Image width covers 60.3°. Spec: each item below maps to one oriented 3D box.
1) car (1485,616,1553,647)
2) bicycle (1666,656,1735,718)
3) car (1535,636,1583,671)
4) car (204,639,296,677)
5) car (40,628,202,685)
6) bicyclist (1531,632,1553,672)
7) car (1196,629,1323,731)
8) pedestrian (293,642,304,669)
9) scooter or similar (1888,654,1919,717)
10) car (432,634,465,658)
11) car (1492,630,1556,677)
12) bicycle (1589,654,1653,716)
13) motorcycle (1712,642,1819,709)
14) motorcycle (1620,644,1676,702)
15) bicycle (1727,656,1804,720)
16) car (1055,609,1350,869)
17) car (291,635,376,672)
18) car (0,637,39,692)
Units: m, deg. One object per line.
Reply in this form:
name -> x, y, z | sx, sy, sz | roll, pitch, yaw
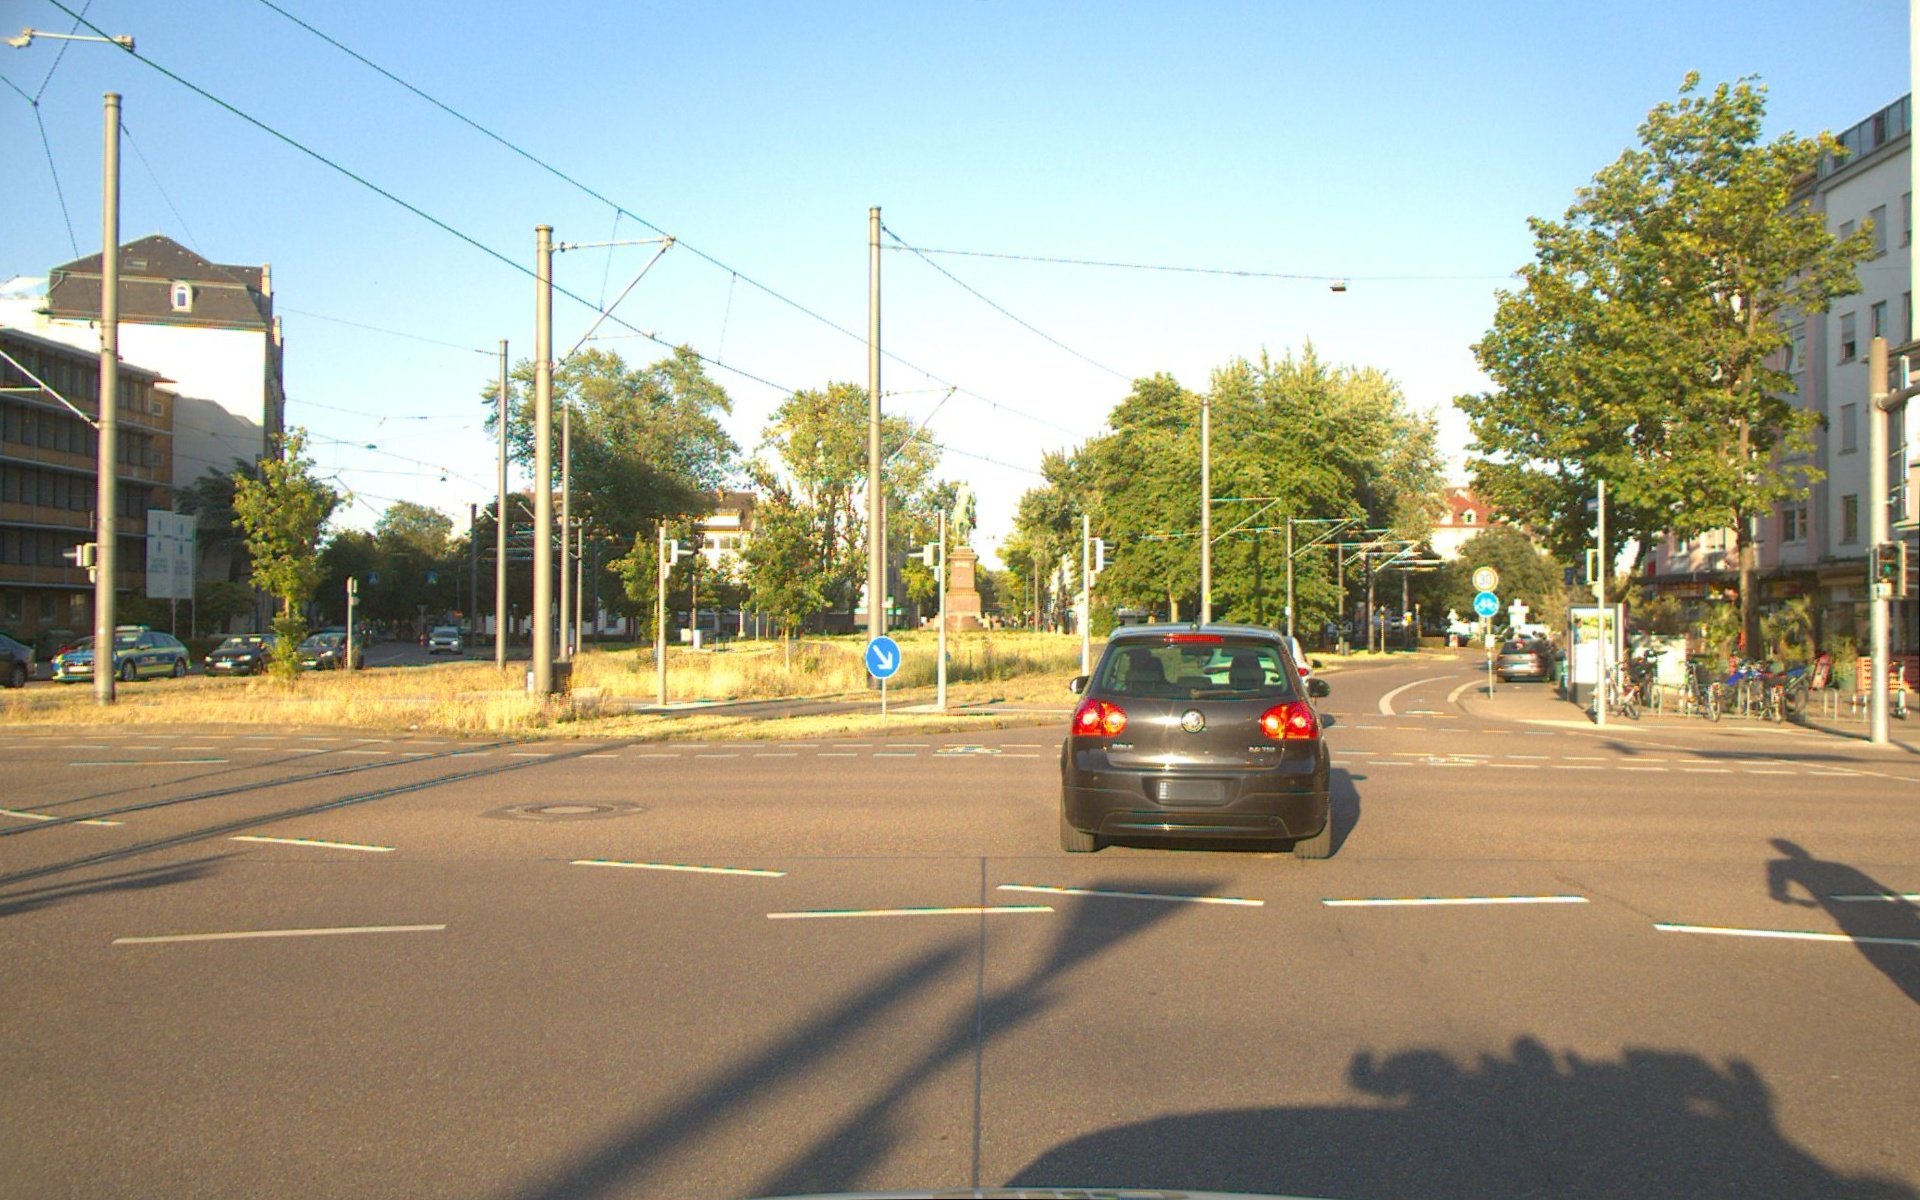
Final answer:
car -> 50.040, 2.807, 148.100 | 5.399, 2.640, 2.154 | 1, -1, -1
bicycle -> 14.941, 1.745, 33.420 | 0.631, 1.146, 1.875 | 0, 0, 3
car -> 29.166, 2.577, 80.429 | 1.746, 1.584, 4.231 | -3, -2, 25
car -> -23.412, 1.883, 54.640 | 1.489, 1.174, 3.598 | 0, -1, 0
car -> -23.513, 1.536, 46.587 | 1.849, 1.506, 4.784 | 0, -1, 4
bicyclist -> 24.554, 2.203, 69.741 | 0.761, 1.647, 1.024 | 1, -1, 25
car -> 4.834, 1.211, 26.407 | 1.825, 1.466, 4.200 | 0, -1, 12
pedestrian -> -37.244, 3.124, 93.128 | 0.405, 1.455, 0.485 | 0, -1, 1
scooter or similar -> 19.898, 1.797, 34.848 | 0.406, 1.276, 1.183 | 0, -1, 21
car -> -33.736, 2.999, 109.131 | 1.740, 1.508, 4.294 | 0, -1, -13
car -> 19.413, 1.830, 56.852 | 1.693, 1.498, 3.897 | -3, -2, 24
bicycle -> 13.318, 1.703, 33.391 | 0.631, 1.146, 1.875 | 0, 0, 3
motorcycle -> 17.773, 1.665, 36.533 | 2.000, 1.431, 0.761 | 0, -1, 9
motorcycle -> 16.015, 1.676, 38.547 | 0.652, 1.264, 2.202 | 0, -1, 8
bicycle -> 16.227, 1.752, 33.375 | 0.631, 1.178, 2.125 | 0, 0, 3
car -> 1.772, 0.839, 11.768 | 1.710, 1.486, 4.106 | 1, -1, 10
car -> -23.229, 1.968, 61.434 | 1.612, 1.304, 3.740 | 0, -1, 2
car -> -23.655, 1.535, 39.003 | 1.689, 1.305, 3.789 | 0, -1, 1
